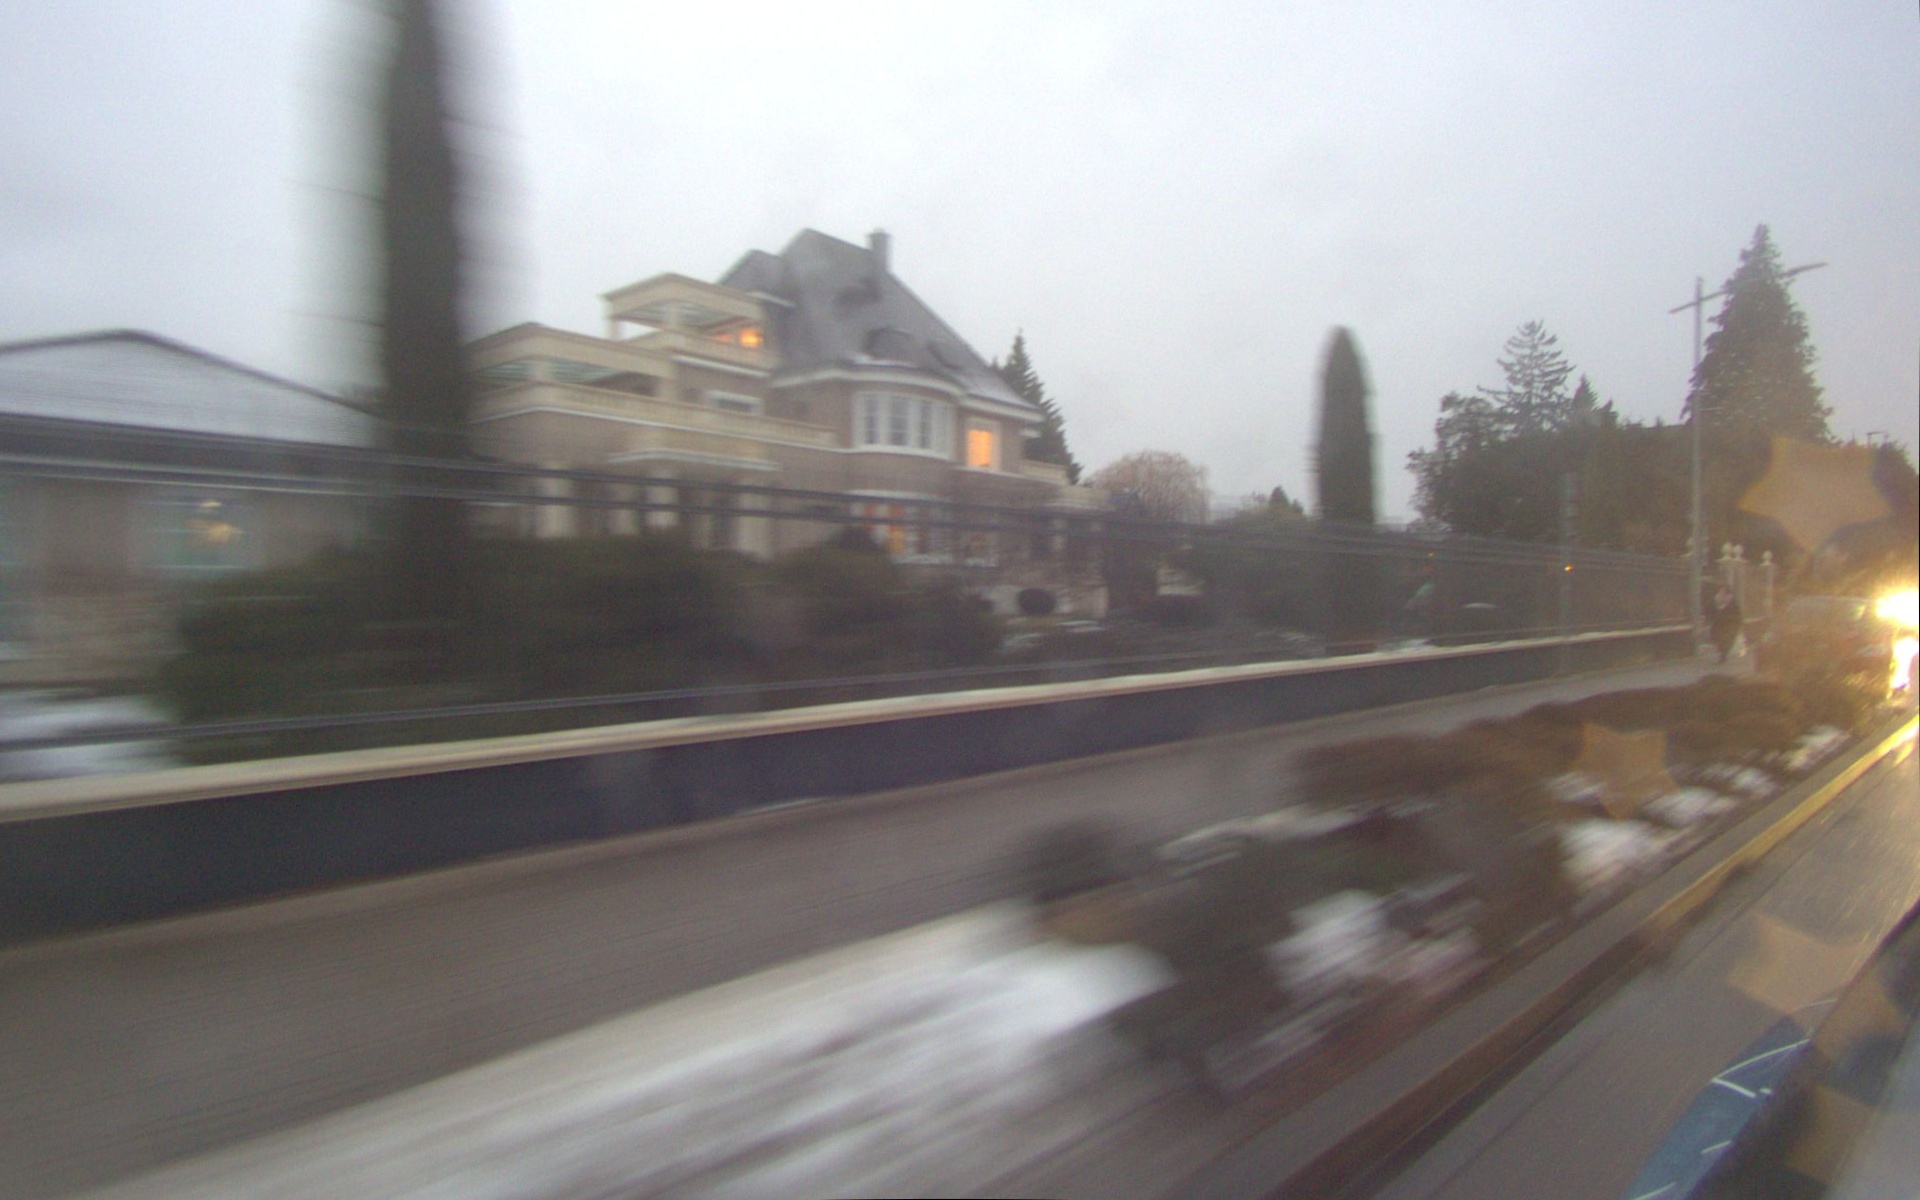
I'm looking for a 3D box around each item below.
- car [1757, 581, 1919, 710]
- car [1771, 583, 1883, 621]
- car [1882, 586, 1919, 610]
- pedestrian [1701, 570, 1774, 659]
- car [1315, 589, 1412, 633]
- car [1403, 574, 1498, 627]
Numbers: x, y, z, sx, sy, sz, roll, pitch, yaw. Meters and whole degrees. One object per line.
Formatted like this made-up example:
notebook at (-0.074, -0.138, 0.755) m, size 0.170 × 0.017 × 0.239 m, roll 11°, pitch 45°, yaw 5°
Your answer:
car at (13.963, 0.613, 15.888) m, size 3.333 × 1.557 × 1.653 m, roll -4°, pitch 7°, yaw -42°
car at (46.002, 0.070, 53.846) m, size 4.313 × 1.753 × 1.974 m, roll 4°, pitch 3°, yaw 37°
car at (67.189, -0.156, 72.191) m, size 1.767 × 1.638 × 3.821 m, roll 0°, pitch 1°, yaw 37°
pedestrian at (16.210, 0.274, 21.104) m, size 1.038 × 1.763 × 0.989 m, roll 0°, pitch 2°, yaw -43°
car at (14.157, 0.350, 35.452) m, size 1.805 × 1.392 × 3.937 m, roll 2°, pitch 2°, yaw 44°
car at (16.699, -0.036, 34.358) m, size 1.939 × 1.683 × 4.169 m, roll 1°, pitch 2°, yaw 40°
